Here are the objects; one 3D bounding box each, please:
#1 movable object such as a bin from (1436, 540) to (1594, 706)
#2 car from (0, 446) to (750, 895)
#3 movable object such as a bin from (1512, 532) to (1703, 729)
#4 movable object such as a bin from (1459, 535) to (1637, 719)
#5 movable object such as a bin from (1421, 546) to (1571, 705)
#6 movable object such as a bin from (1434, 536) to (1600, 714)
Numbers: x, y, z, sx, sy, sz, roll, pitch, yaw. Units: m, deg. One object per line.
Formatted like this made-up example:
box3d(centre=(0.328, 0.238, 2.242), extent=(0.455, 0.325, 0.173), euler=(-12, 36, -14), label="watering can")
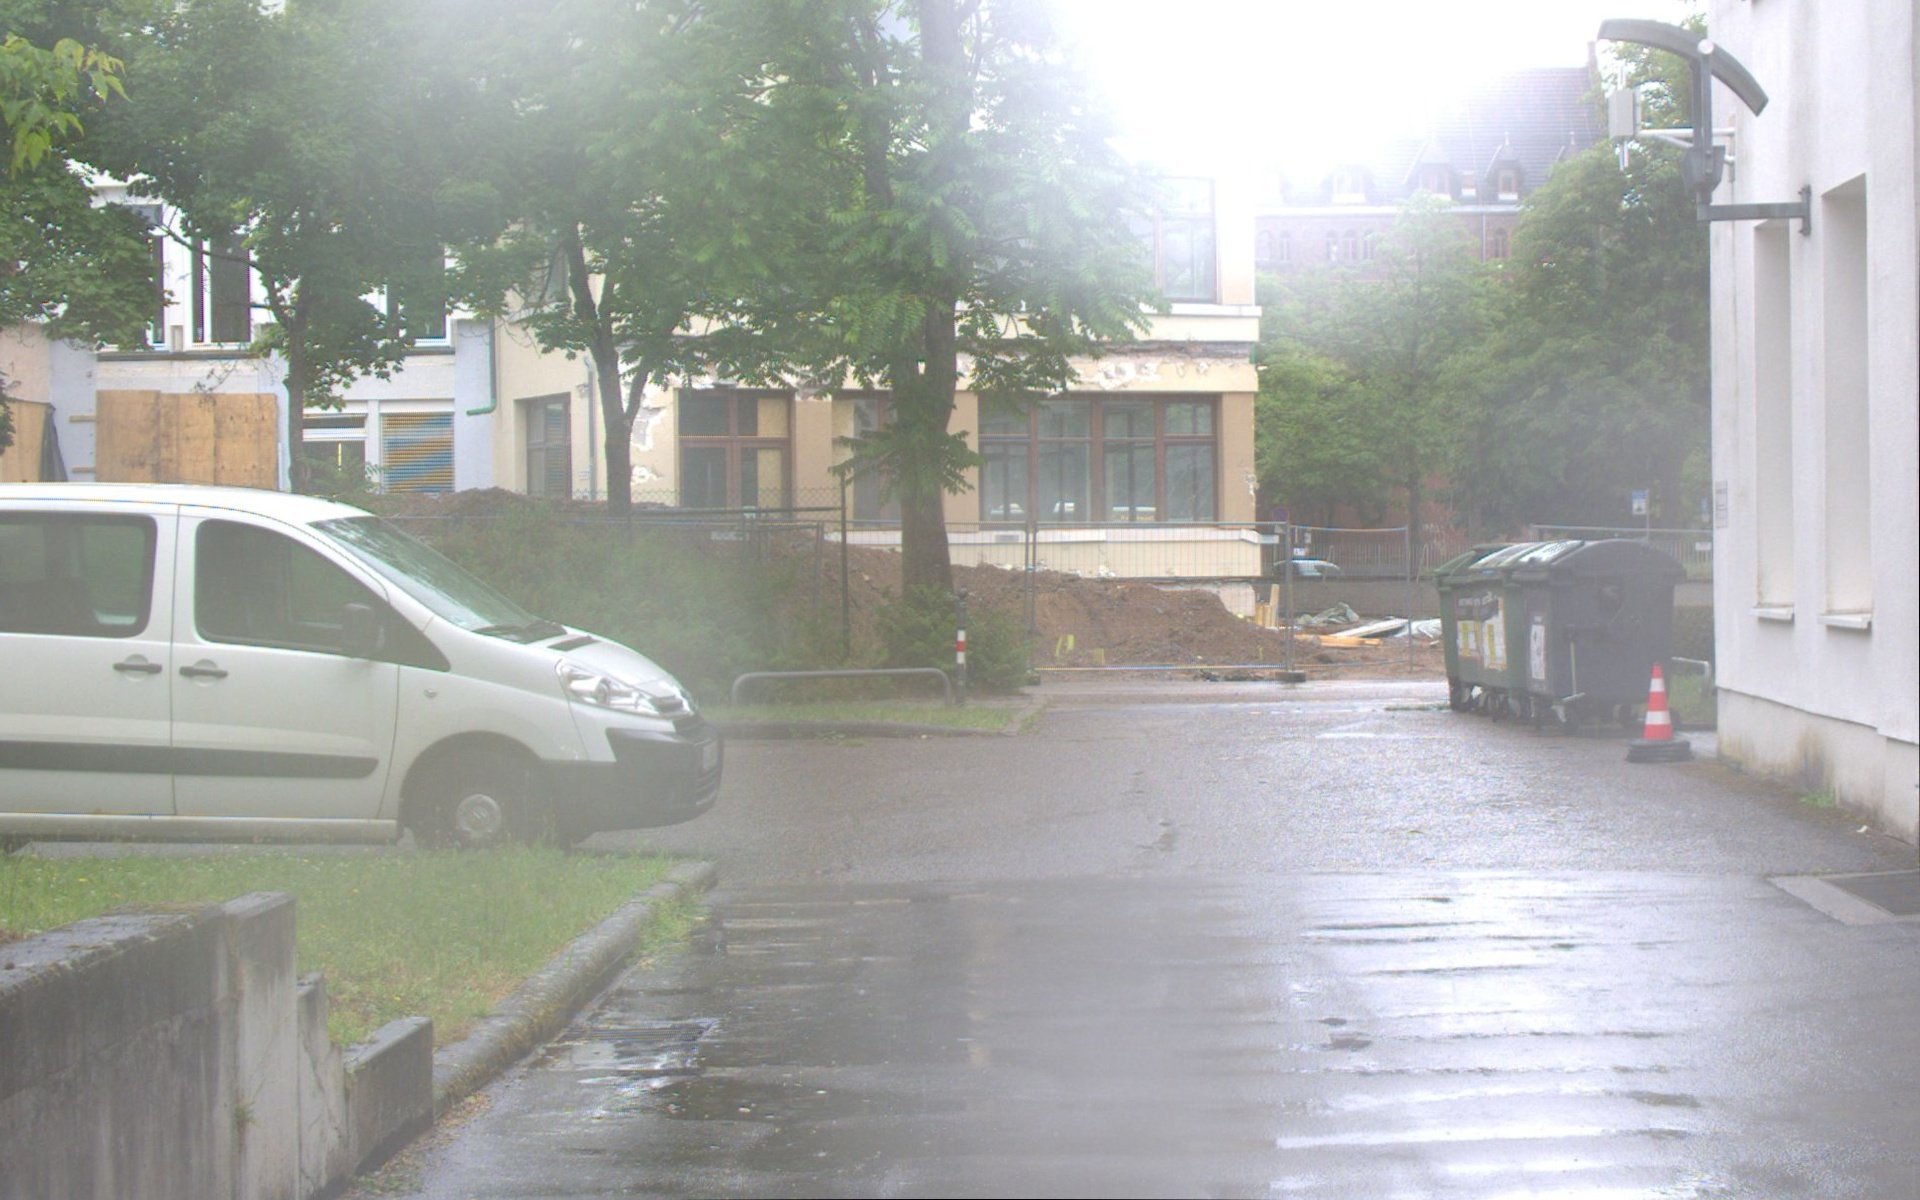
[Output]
box3d(centre=(4.897, 0.215, 30.438), extent=(1.214, 1.432, 1.259), euler=(0, -1, 2), label="movable object such as a bin")
box3d(centre=(-3.570, 0.327, 16.936), extent=(4.781, 2.007, 2.000), euler=(-1, 1, 4), label="car")
box3d(centre=(4.827, 0.237, 25.733), extent=(1.214, 1.432, 1.236), euler=(0, -1, 1), label="movable object such as a bin")
box3d(centre=(4.675, 0.225, 27.436), extent=(1.214, 1.432, 1.294), euler=(0, -1, 2), label="movable object such as a bin")
box3d(centre=(4.948, 0.245, 31.816), extent=(1.214, 1.432, 1.259), euler=(0, -1, 2), label="movable object such as a bin")
box3d(centre=(4.694, 0.220, 29.065), extent=(1.214, 1.463, 1.236), euler=(0, -1, 1), label="movable object such as a bin")
